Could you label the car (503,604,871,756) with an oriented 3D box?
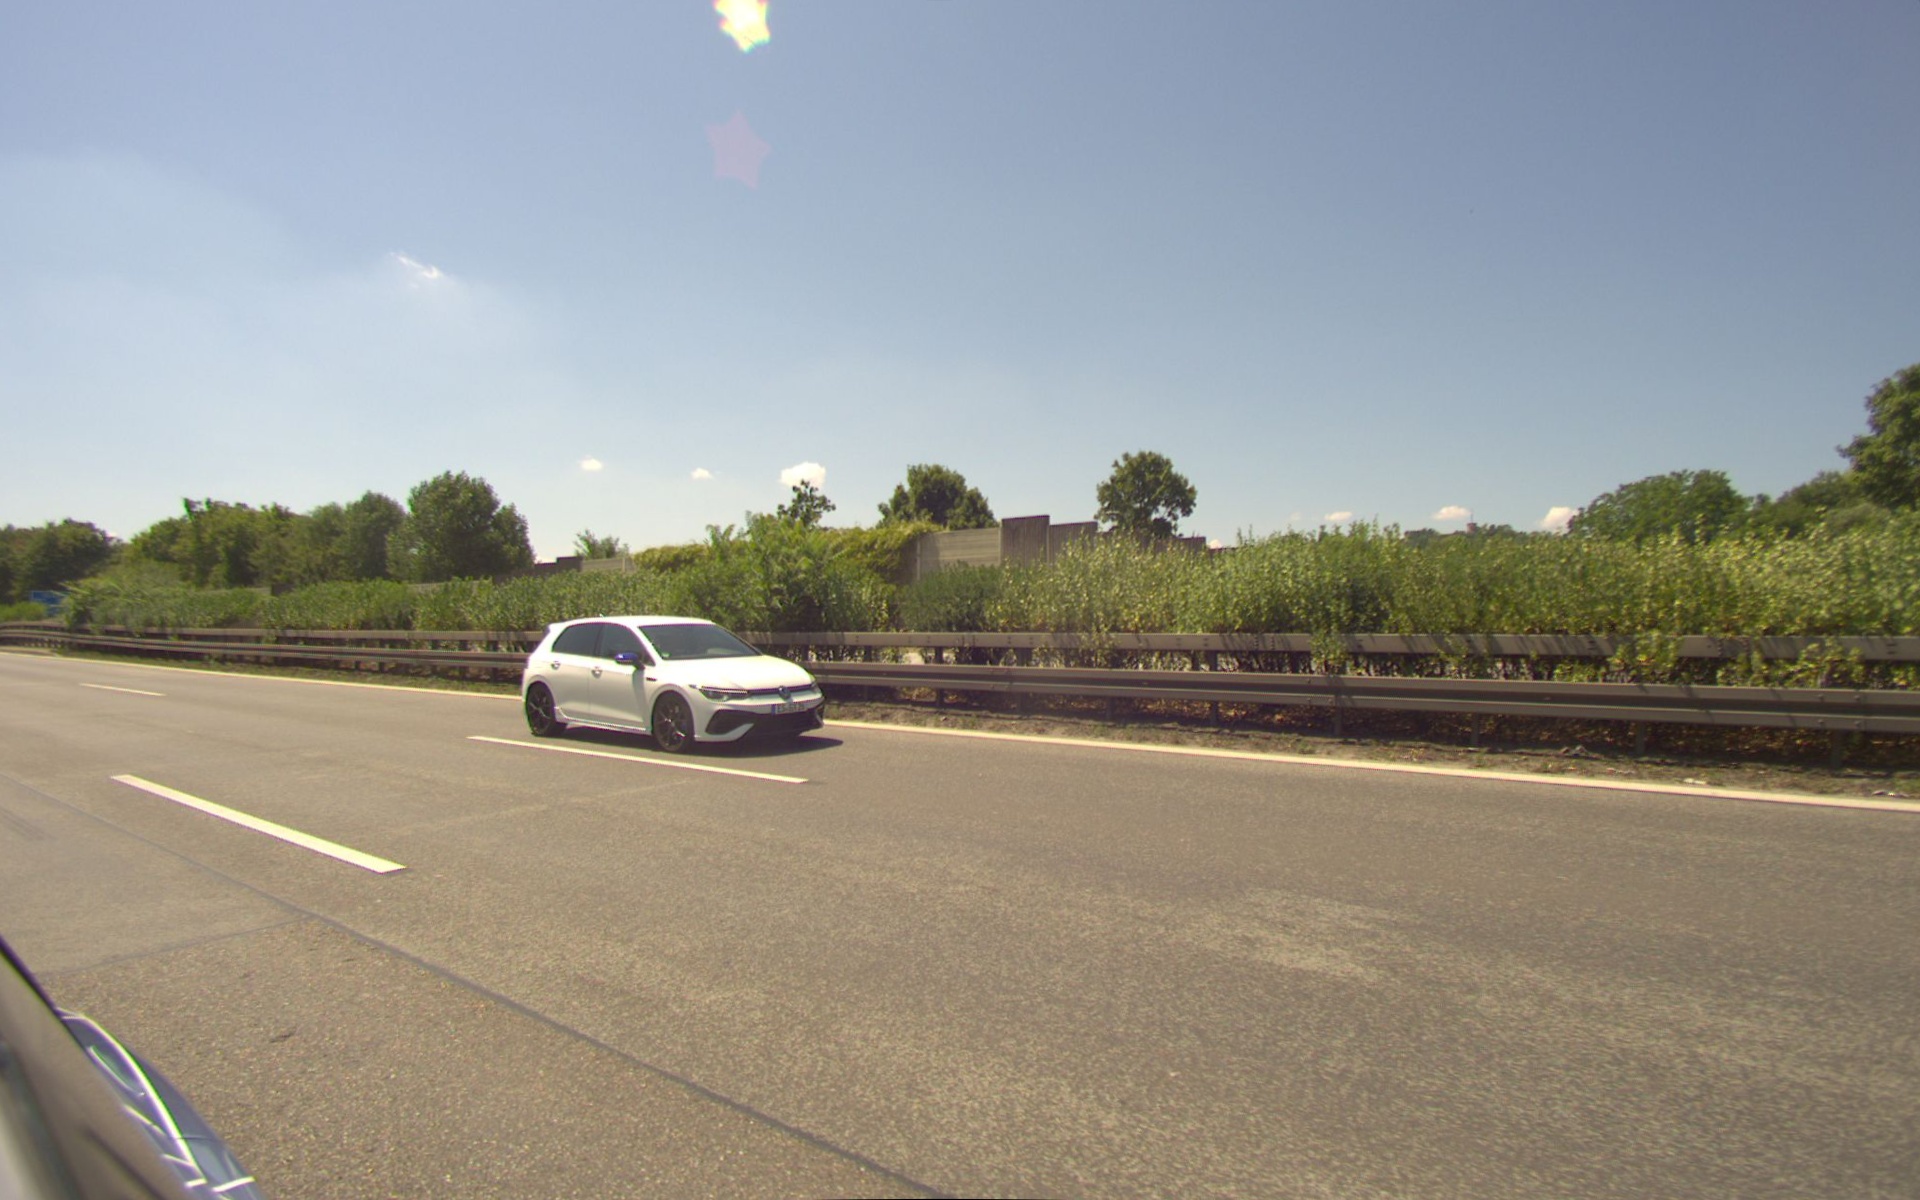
[{"bbox_3d":[-3.333,0.813,11.835,4.663,1.451,1.764,-2,-1,39],"label":"car"}]
